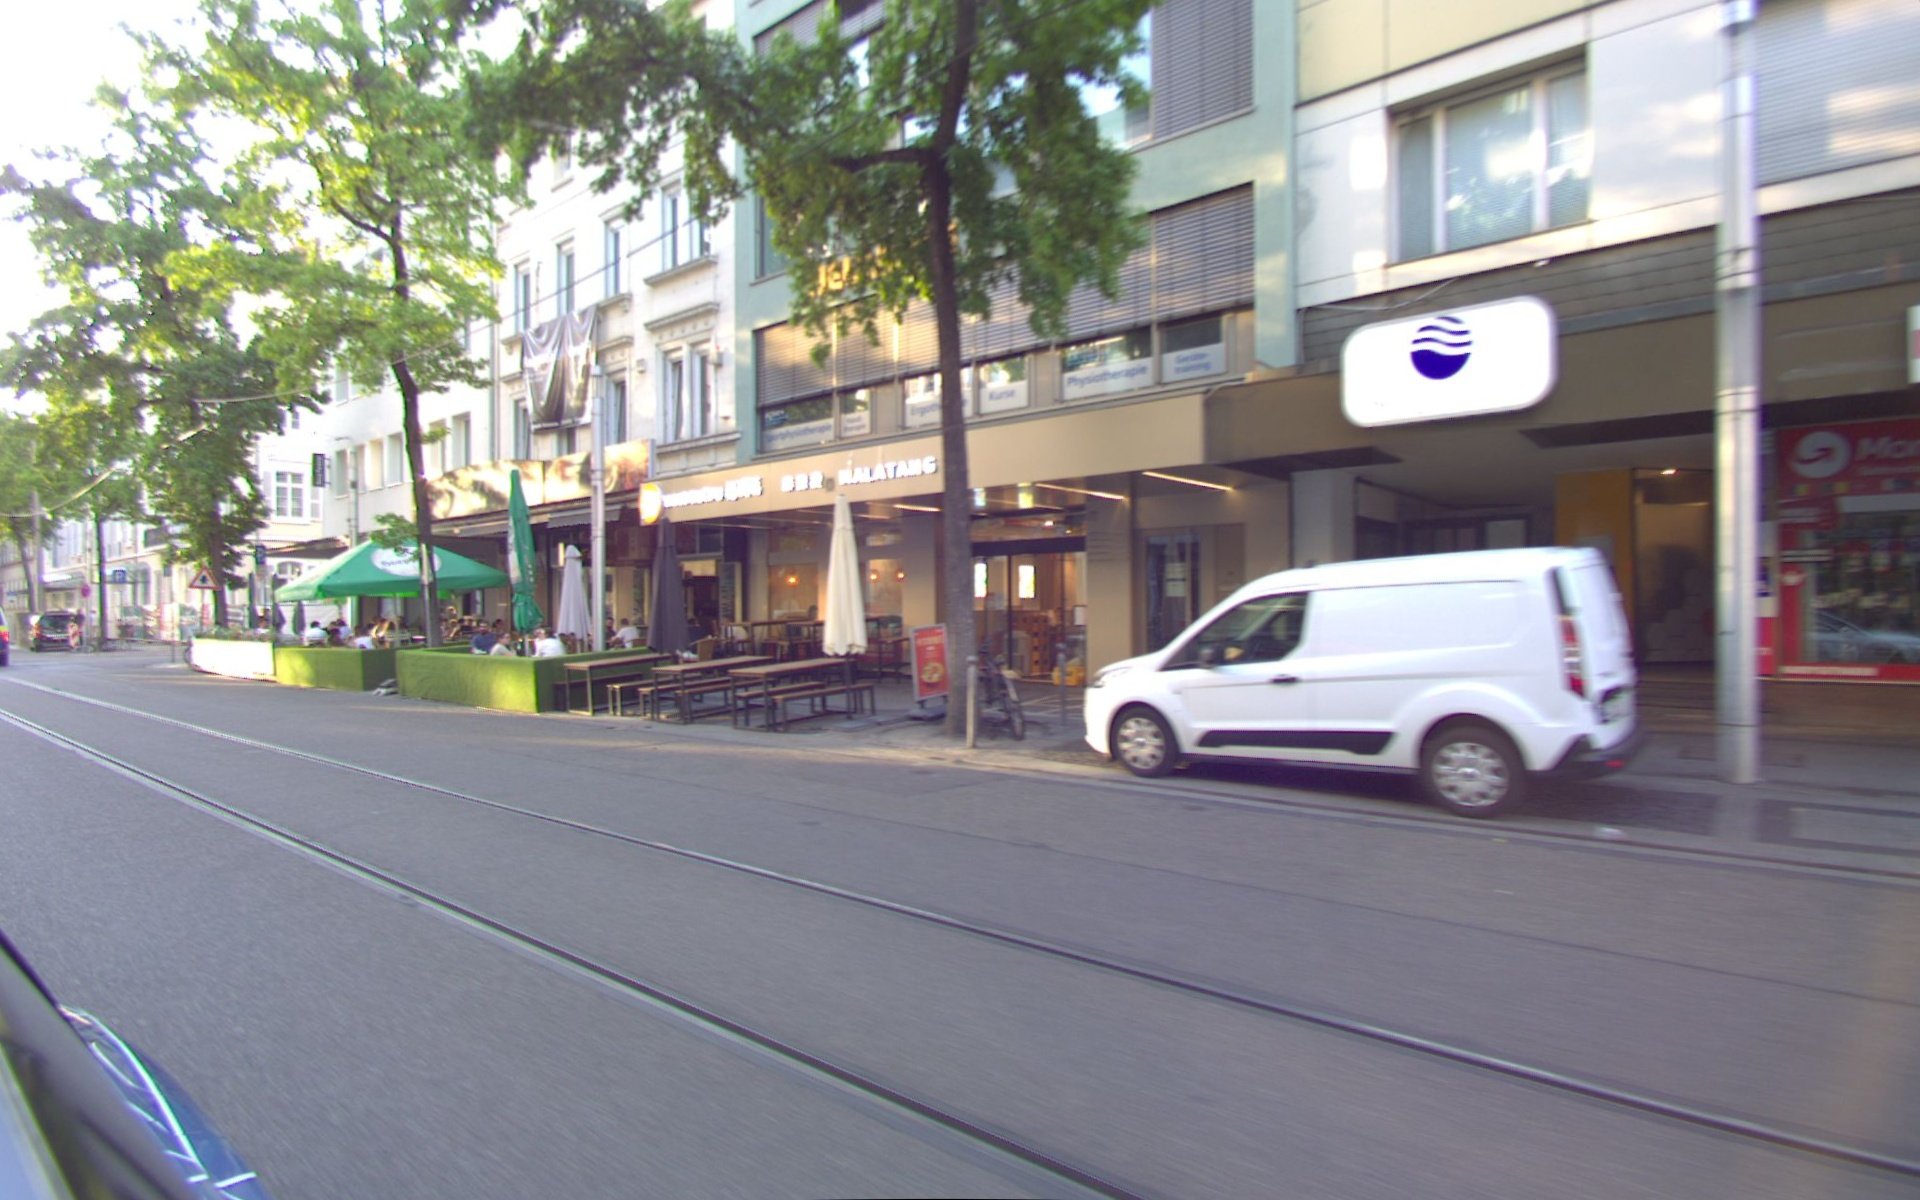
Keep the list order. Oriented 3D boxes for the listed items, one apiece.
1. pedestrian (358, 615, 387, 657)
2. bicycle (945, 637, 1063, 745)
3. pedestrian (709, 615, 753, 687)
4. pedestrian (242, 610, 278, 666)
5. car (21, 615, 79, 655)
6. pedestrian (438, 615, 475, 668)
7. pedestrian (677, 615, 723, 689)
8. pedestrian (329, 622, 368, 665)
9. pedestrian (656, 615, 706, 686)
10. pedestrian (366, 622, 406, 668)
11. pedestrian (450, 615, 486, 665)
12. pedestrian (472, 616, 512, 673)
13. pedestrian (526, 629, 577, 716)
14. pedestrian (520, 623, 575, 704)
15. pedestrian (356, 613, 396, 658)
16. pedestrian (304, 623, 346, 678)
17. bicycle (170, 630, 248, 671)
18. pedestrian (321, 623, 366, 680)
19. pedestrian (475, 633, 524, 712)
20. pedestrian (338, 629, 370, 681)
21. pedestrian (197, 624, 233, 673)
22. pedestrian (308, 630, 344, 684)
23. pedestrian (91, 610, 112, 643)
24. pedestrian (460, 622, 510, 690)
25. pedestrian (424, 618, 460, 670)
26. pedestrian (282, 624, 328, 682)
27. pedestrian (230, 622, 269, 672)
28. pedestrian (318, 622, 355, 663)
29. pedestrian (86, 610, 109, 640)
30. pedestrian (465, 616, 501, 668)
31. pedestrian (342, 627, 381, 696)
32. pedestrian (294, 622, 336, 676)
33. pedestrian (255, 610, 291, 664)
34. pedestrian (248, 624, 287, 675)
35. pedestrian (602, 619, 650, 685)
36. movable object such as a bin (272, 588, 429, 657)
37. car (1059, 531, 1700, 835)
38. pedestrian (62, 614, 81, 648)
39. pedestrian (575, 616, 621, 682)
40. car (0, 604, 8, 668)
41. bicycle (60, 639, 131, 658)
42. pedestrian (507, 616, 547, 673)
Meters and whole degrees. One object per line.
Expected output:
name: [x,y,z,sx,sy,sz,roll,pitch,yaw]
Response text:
pedestrian: [-19.322,1.165,33.303,0.842,1.330,0.615,0,0,44]
bicycle: [0.455,0.988,11.635,0.602,1.076,2.026,-1,0,-20]
pedestrian: [-4.534,0.994,20.043,0.679,1.388,0.532,0,0,41]
pedestrian: [-22.483,1.209,32.524,0.632,1.754,0.782,-1,0,-2]
car: [-43.582,1.650,48.424,3.879,1.778,1.748,-1,1,44]
pedestrian: [-13.666,1.111,27.492,0.765,1.388,0.647,0,0,41]
pedestrian: [-5.035,0.990,19.578,0.648,1.388,0.599,0,0,41]
pedestrian: [-19.693,1.375,32.581,0.882,1.330,0.875,0,0,44]
pedestrian: [-5.720,1.013,20.740,0.765,1.388,0.683,0,0,41]
pedestrian: [-17.399,1.340,30.682,0.882,1.330,0.838,0,0,44]
pedestrian: [-13.886,1.118,28.558,0.765,1.388,0.647,0,0,41]
pedestrian: [-11.914,1.123,25.772,0.765,1.388,0.647,0,0,41]
pedestrian: [-6.761,1.185,16.753,0.564,1.388,0.573,0,0,41]
pedestrian: [-7.251,1.100,17.800,0.731,1.356,0.637,0,0,42]
pedestrian: [-18.119,1.083,31.394,0.882,1.330,0.875,0,0,44]
pedestrian: [-16.438,1.287,26.200,0.924,1.372,0.708,-1,0,43]
bicycle: [-23.219,1.537,31.332,0.626,1.147,1.843,0,0,37]
pedestrian: [-15.580,1.282,25.581,1.012,1.372,0.708,-1,0,43]
pedestrian: [-7.801,1.213,17.143,0.641,1.276,0.545,0,0,41]
pedestrian: [-14.698,1.331,24.560,0.511,1.228,0.537,-1,0,42]
pedestrian: [-21.675,1.391,29.447,0.792,1.387,0.685,-1,0,42]
pedestrian: [-15.105,1.340,24.109,0.544,1.245,0.579,-1,0,42]
pedestrian: [-51.032,1.568,60.162,0.880,1.898,0.749,-1,1,41]
pedestrian: [-9.300,1.074,19.808,0.600,1.274,0.701,0,0,41]
pedestrian: [-14.374,1.205,28.077,0.765,1.388,0.647,0,0,41]
pedestrian: [-16.098,1.291,24.874,1.012,1.372,0.708,-1,0,43]
pedestrian: [-20.112,1.308,28.654,0.924,1.372,0.708,-1,0,43]
pedestrian: [-21.054,1.431,34.181,0.882,1.330,0.875,0,0,44]
pedestrian: [-50.431,1.461,59.175,0.761,1.668,0.875,-1,0,39]
pedestrian: [-13.197,1.147,28.003,0.765,1.388,0.647,0,0,41]
pedestrian: [-12.442,1.258,21.055,0.564,1.388,0.541,0,0,41]
pedestrian: [-17.178,1.289,26.938,1.012,1.372,0.708,-1,0,43]
pedestrian: [-22.699,1.205,33.434,0.634,1.754,0.780,-1,0,6]
pedestrian: [-19.106,1.348,27.914,0.871,1.372,0.708,-1,0,43]
pedestrian: [-7.060,1.075,21.377,0.765,1.340,0.647,0,0,41]
movable object such as a bin: [-27.482,0.988,45.795,2.640,2.894,5.493,0,-1,38]
car: [3.167,0.481,8.284,4.515,1.831,1.775,0,2,42]
pedestrian: [-50.826,1.759,57.920,0.769,1.898,0.670,-1,1,41]
pedestrian: [-7.907,1.051,22.077,0.765,1.388,0.647,0,0,41]
car: [-32.472,1.178,32.716,4.846,1.991,1.973,-1,-1,40]
bicycle: [-37.074,2.071,43.434,1.327,0.711,2.053,-1,0,34]
pedestrian: [-10.893,1.097,25.474,0.765,1.388,0.647,0,0,41]
